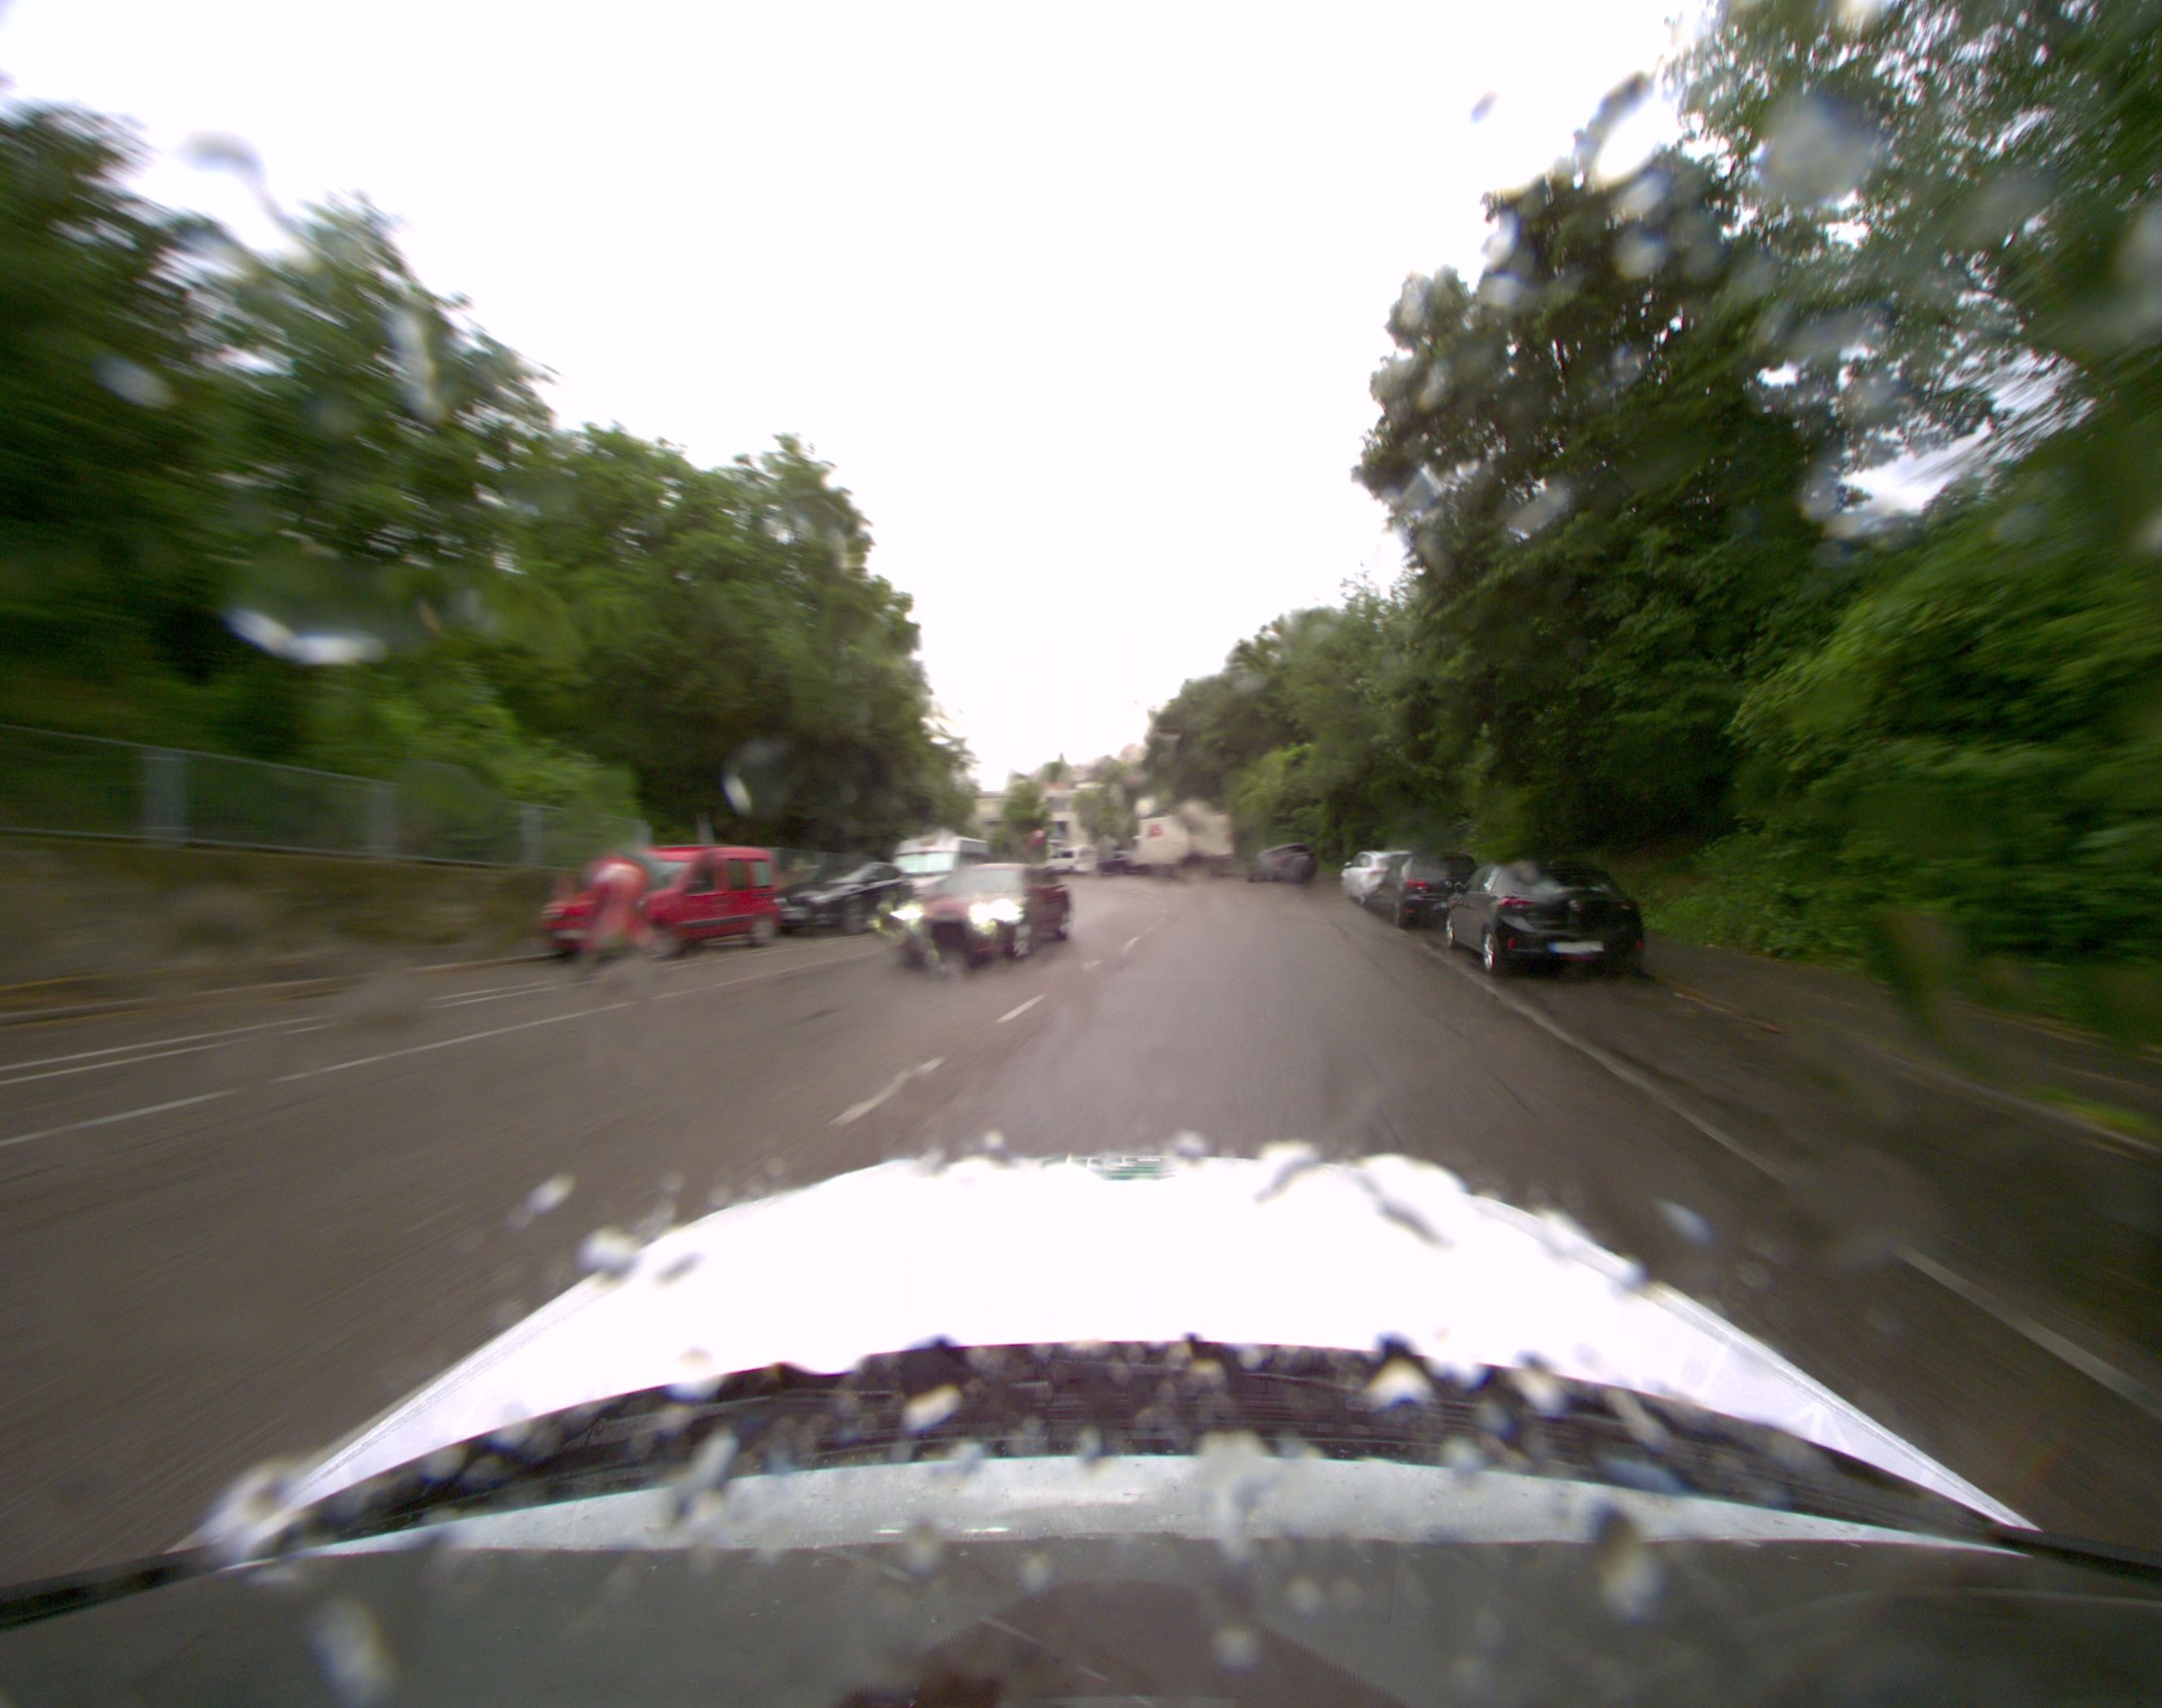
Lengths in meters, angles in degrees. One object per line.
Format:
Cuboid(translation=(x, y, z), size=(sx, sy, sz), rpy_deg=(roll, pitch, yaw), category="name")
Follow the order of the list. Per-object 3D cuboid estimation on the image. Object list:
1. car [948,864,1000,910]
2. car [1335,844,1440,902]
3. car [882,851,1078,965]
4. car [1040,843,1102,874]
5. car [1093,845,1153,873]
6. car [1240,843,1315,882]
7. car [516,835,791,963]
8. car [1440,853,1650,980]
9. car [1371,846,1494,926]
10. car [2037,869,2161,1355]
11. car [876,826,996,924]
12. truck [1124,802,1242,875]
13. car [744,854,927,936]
Cuboid(translation=(-4.237, 1.307, 32.462), size=(1.802, 1.583, 4.014), rpy_deg=(-4, -1, -7), category="car")
Cuboid(translation=(8.308, 0.448, 22.441), size=(1.746, 1.400, 4.104), rpy_deg=(-2, 1, 7), category="car")
Cuboid(translation=(-1.431, 0.786, 13.476), size=(1.855, 1.516, 4.497), rpy_deg=(-3, -1, 11), category="car")
Cuboid(translation=(-0.769, 0.345, 58.468), size=(1.892, 2.013, 4.637), rpy_deg=(-2, -1, -38), category="car")
Cuboid(translation=(2.674, 0.363, 53.115), size=(1.730, 1.555, 4.234), rpy_deg=(-6, 2, -31), category="car")
Cuboid(translation=(8.358, 0.334, 35.045), size=(1.719, 1.444, 4.114), rpy_deg=(-4, 1, -7), category="car")
Cuboid(translation=(-6.750, 0.692, 13.453), size=(1.738, 1.768, 4.150), rpy_deg=(-2, -2, 12), category="car")
Cuboid(translation=(6.224, 0.717, 11.387), size=(1.578, 1.389, 3.837), rpy_deg=(1, 1, 14), category="car")
Cuboid(translation=(7.282, 0.599, 17.234), size=(1.649, 1.424, 3.982), rpy_deg=(-1, 1, 12), category="car")
Cuboid(translation=(3.911, 0.817, 0.920), size=(1.617, 1.488, 3.754), rpy_deg=(1, 0, 9), category="car")
Cuboid(translation=(-4.251, 0.563, 25.171), size=(2.064, 2.549, 6.353), rpy_deg=(-3, 0, 4), category="car")
Cuboid(translation=(5.574, -0.728, 46.466), size=(3.017, 3.573, 8.281), rpy_deg=(-5, 0, -19), category="truck")
Cuboid(translation=(-5.376, 0.876, 18.511), size=(1.979, 1.619, 4.413), rpy_deg=(-1, -2, 14), category="car")
